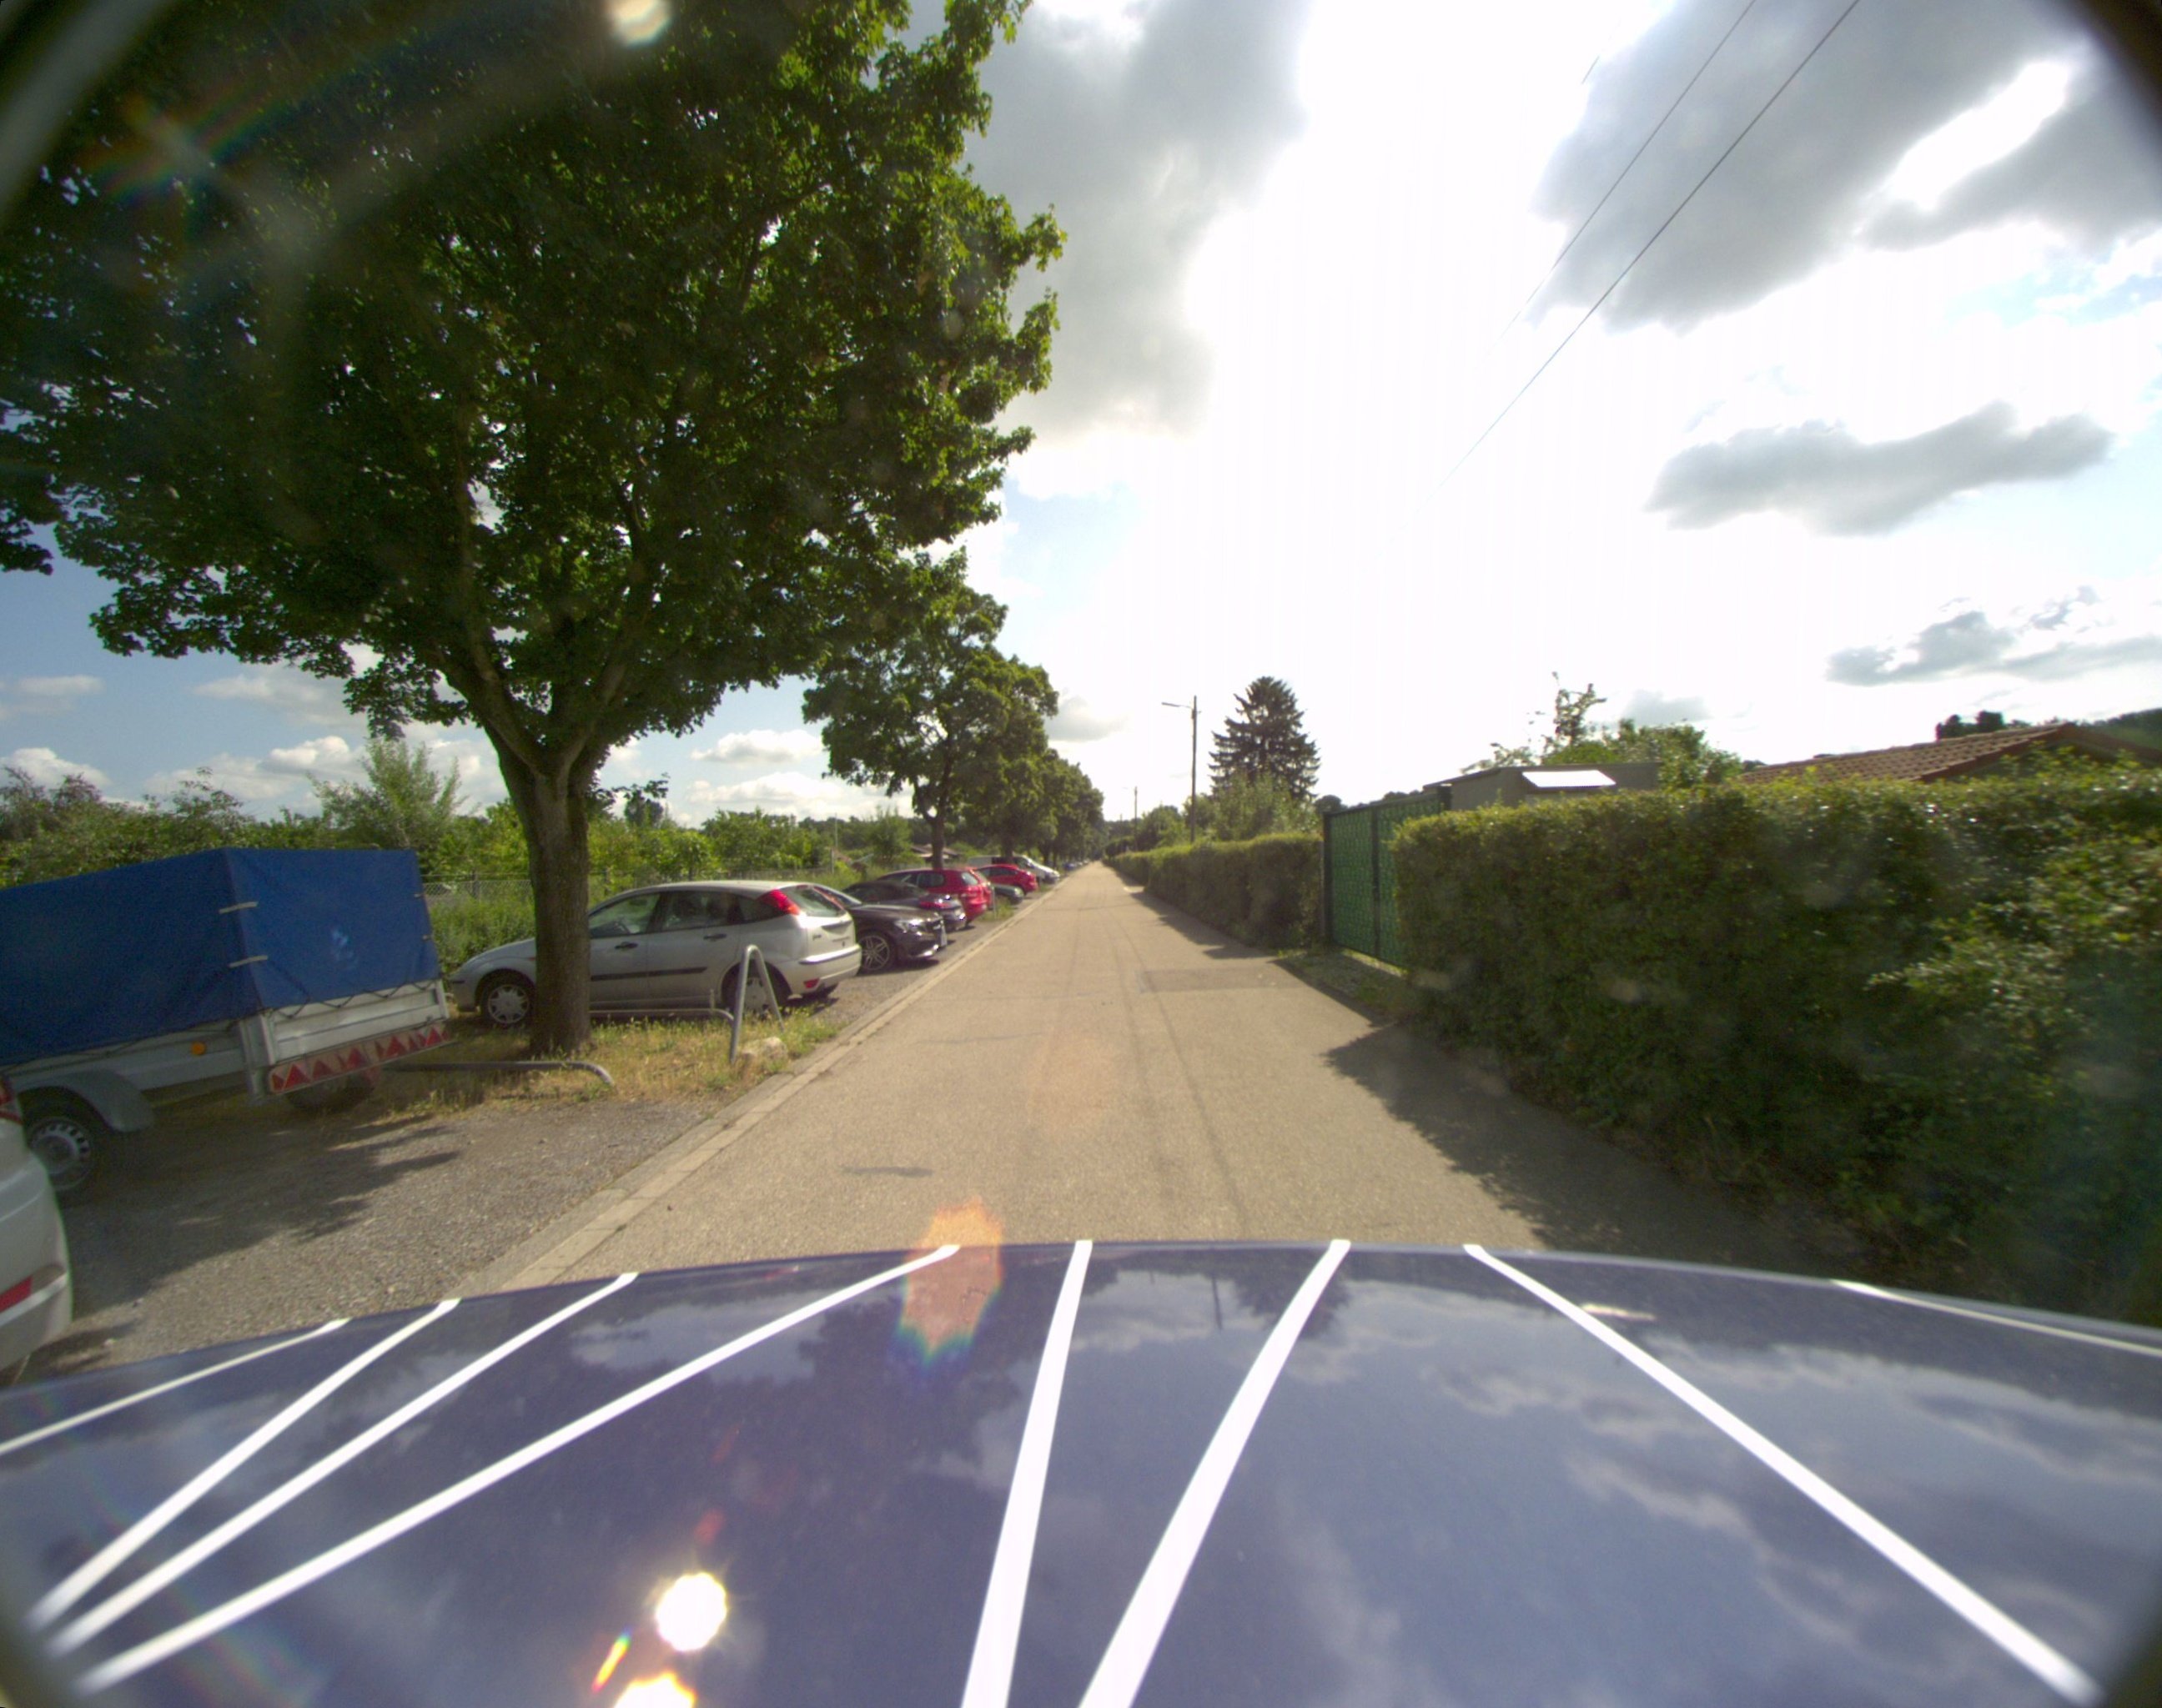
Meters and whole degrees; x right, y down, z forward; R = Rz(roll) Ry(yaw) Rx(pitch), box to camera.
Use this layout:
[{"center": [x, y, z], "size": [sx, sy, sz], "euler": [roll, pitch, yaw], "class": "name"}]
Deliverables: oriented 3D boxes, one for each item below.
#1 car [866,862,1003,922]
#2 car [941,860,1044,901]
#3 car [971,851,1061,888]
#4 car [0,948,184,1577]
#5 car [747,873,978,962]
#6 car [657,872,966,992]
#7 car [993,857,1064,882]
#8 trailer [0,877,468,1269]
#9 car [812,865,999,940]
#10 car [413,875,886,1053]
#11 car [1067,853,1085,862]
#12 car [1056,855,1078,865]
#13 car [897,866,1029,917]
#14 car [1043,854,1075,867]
[{"center": [-4.447, 1.148, 23.519], "size": [3.773, 1.564, 1.869], "euler": [-3, 1, 1], "class": "car"}, {"center": [-3.844, 1.155, 33.455], "size": [4.193, 1.495, 1.878], "euler": [-3, 1, 2], "class": "car"}, {"center": [-3.457, 0.826, 41.094], "size": [4.646, 1.875, 2.111], "euler": [-1, 0, 0], "class": "car"}, {"center": [-4.601, 1.154, 1.310], "size": [3.733, 1.531, 1.849], "euler": [-3, 1, -2], "class": "car"}, {"center": [-4.231, 1.222, 15.158], "size": [3.919, 1.415, 1.958], "euler": [-3, 1, 4], "class": "car"}, {"center": [-4.013, 1.140, 11.880], "size": [4.076, 1.447, 1.869], "euler": [-3, 1, -1], "class": "car"}, {"center": [-3.473, 1.047, 50.802], "size": [4.590, 1.457, 2.000], "euler": [-2, 0, -2], "class": "car"}, {"center": [-5.291, 1.061, 4.207], "size": [2.456, 1.710, 1.518], "euler": [-3, 0, -2], "class": "trailer"}, {"center": [-4.191, 1.155, 18.586], "size": [3.995, 1.511, 1.855], "euler": [-3, 1, 5], "class": "car"}, {"center": [-4.516, 1.124, 8.422], "size": [4.073, 1.503, 1.958], "euler": [-3, 1, 4], "class": "car"}, {"center": [-1.111, 0.703, 168.127], "size": [3.928, 1.740, 2.000], "euler": [-3, 1, 1], "class": "car"}, {"center": [-2.536, 1.100, 139.541], "size": [3.928, 1.740, 2.000], "euler": [-3, 1, 1], "class": "car"}, {"center": [-3.991, 1.245, 26.234], "size": [4.250, 1.420, 1.908], "euler": [-3, 1, -2], "class": "car"}, {"center": [-2.882, 0.896, 99.460], "size": [4.116, 1.573, 1.781], "euler": [-2, 0, 0], "class": "car"}]
